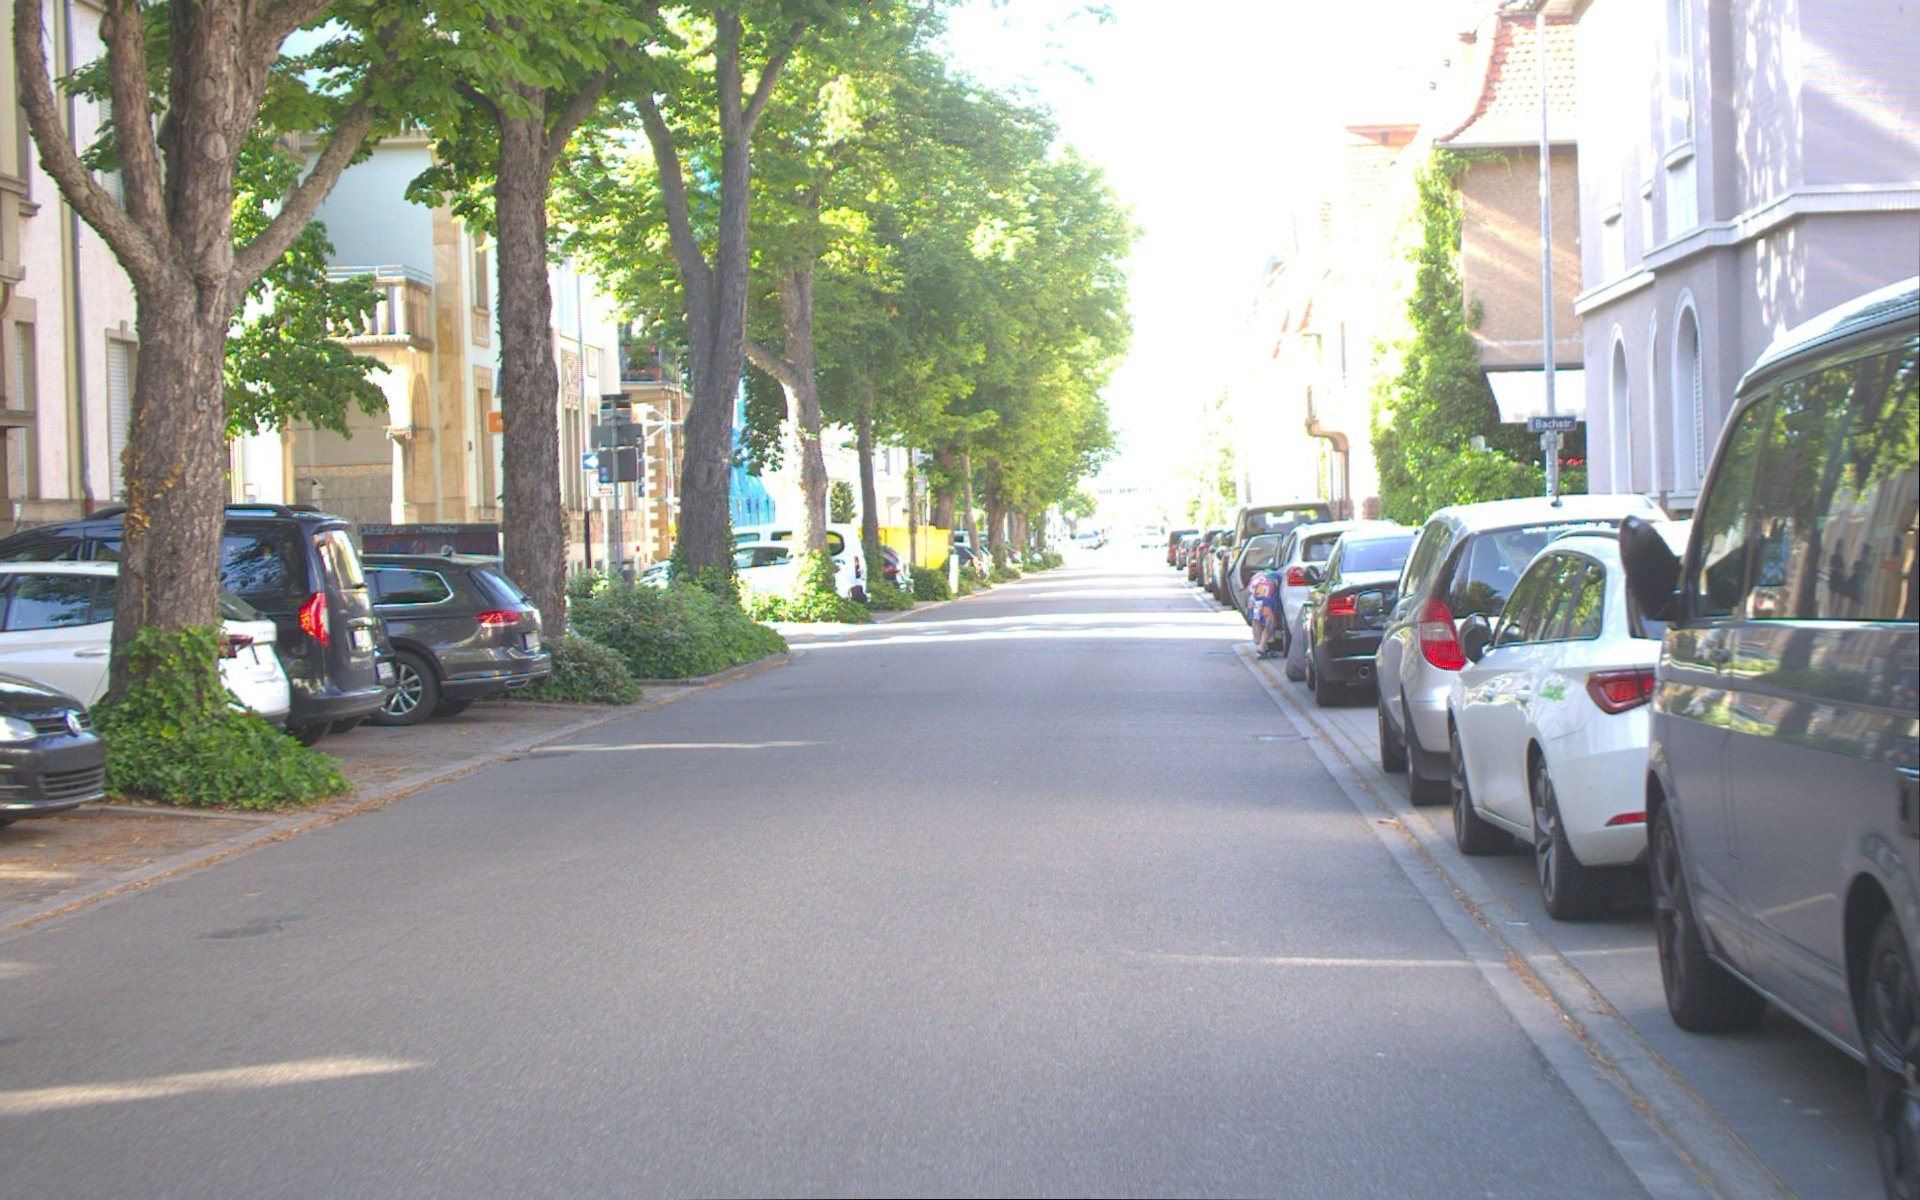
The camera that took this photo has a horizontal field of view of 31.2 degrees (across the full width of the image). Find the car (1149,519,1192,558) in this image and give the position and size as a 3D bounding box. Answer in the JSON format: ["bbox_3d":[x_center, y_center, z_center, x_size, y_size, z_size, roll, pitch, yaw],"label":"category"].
[{"bbox_3d":[9.208,-2.715,150.380,1.771,1.625,3.866,-2,1,4],"label":"car"}]

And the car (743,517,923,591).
[{"bbox_3d":[-2.924,-1.067,78.802,3.986,1.546,1.838,-2,2,-5],"label":"car"}]

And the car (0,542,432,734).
[{"bbox_3d":[-6.451,0.296,27.969,3.979,1.432,1.829,-1,1,1],"label":"car"}]

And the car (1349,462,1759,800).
[{"bbox_3d":[3.258,0.082,19.563,1.789,1.594,4.000,-4,2,4],"label":"car"}]

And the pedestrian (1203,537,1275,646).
[{"bbox_3d":[3.328,-0.106,41.053,0.723,1.253,0.646,-3,1,-4],"label":"pedestrian"}]

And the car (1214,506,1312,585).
[{"bbox_3d":[5.939,-1.093,67.708,1.691,1.394,3.805,-4,1,3],"label":"car"}]

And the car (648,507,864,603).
[{"bbox_3d":[-3.828,-0.854,65.110,3.987,1.754,1.798,0,1,0],"label":"car"}]

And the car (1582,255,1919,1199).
[{"bbox_3d":[2.777,0.238,8.209,1.865,1.909,4.782,-3,1,3],"label":"car"}]

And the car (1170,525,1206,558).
[{"bbox_3d":[11.863,-3.057,178.843,1.771,1.625,3.866,-2,1,4],"label":"car"}]

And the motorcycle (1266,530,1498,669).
[{"bbox_3d":[4.202,-0.018,34.372,2.193,1.334,0.921,1,2,1],"label":"motorcycle"}]

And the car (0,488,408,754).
[{"bbox_3d":[-6.274,0.151,25.509,3.979,1.849,1.829,-1,1,2],"label":"car"}]

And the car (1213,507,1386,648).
[{"bbox_3d":[4.107,-0.310,42.120,1.699,1.534,4.155,-4,1,1],"label":"car"}]

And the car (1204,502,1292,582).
[{"bbox_3d":[6.139,-1.264,73.506,1.789,1.612,3.866,-2,1,4],"label":"car"}]

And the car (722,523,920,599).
[{"bbox_3d":[-2.955,-0.844,73.602,3.987,1.464,1.863,-1,2,5],"label":"car"}]

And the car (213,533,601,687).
[{"bbox_3d":[-5.681,0.090,35.577,3.675,1.482,1.641,-1,1,3],"label":"car"}]

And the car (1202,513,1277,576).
[{"bbox_3d":[6.870,-1.391,84.659,1.771,1.450,3.866,-2,1,4],"label":"car"}]

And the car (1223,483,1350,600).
[{"bbox_3d":[5.764,-1.066,61.172,1.904,1.864,4.673,-4,1,3],"label":"car"}]

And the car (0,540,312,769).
[{"bbox_3d":[-6.525,0.364,23.120,3.987,1.443,1.742,-1,1,-1],"label":"car"}]

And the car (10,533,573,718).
[{"bbox_3d":[-5.816,0.200,30.292,4.532,1.498,1.892,-1,1,2],"label":"car"}]

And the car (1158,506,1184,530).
[{"bbox_3d":[14.872,-5.805,241.904,1.771,1.625,3.866,-2,1,4],"label":"car"}]

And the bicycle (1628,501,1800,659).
[{"bbox_3d":[6.804,-0.201,31.144,1.082,1.333,2.250,-2,1,2],"label":"bicycle"}]

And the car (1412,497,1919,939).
[{"bbox_3d":[2.980,0.342,13.944,1.679,1.452,4.439,-2,1,0],"label":"car"}]

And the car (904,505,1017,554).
[{"bbox_3d":[0.020,-2.621,127.463,4.007,1.729,1.894,1,2,5],"label":"car"}]

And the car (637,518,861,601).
[{"bbox_3d":[-3.830,-0.732,62.859,3.987,1.459,1.798,0,0,0],"label":"car"}]

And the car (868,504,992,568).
[{"bbox_3d":[-1.023,-2.152,115.581,3.986,2.007,2.000,-2,1,-5],"label":"car"}]

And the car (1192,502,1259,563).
[{"bbox_3d":[7.399,-1.893,95.956,1.771,1.625,3.866,-2,1,4],"label":"car"}]

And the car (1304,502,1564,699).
[{"bbox_3d":[4.045,-0.055,29.998,1.855,1.488,4.607,-3,1,4],"label":"car"}]

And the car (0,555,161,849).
[{"bbox_3d":[-6.467,0.510,18.269,3.903,1.441,1.859,0,1,8],"label":"car"}]

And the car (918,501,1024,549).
[{"bbox_3d":[0.452,-2.976,136.200,4.007,1.834,2.000,1,2,5],"label":"car"}]
